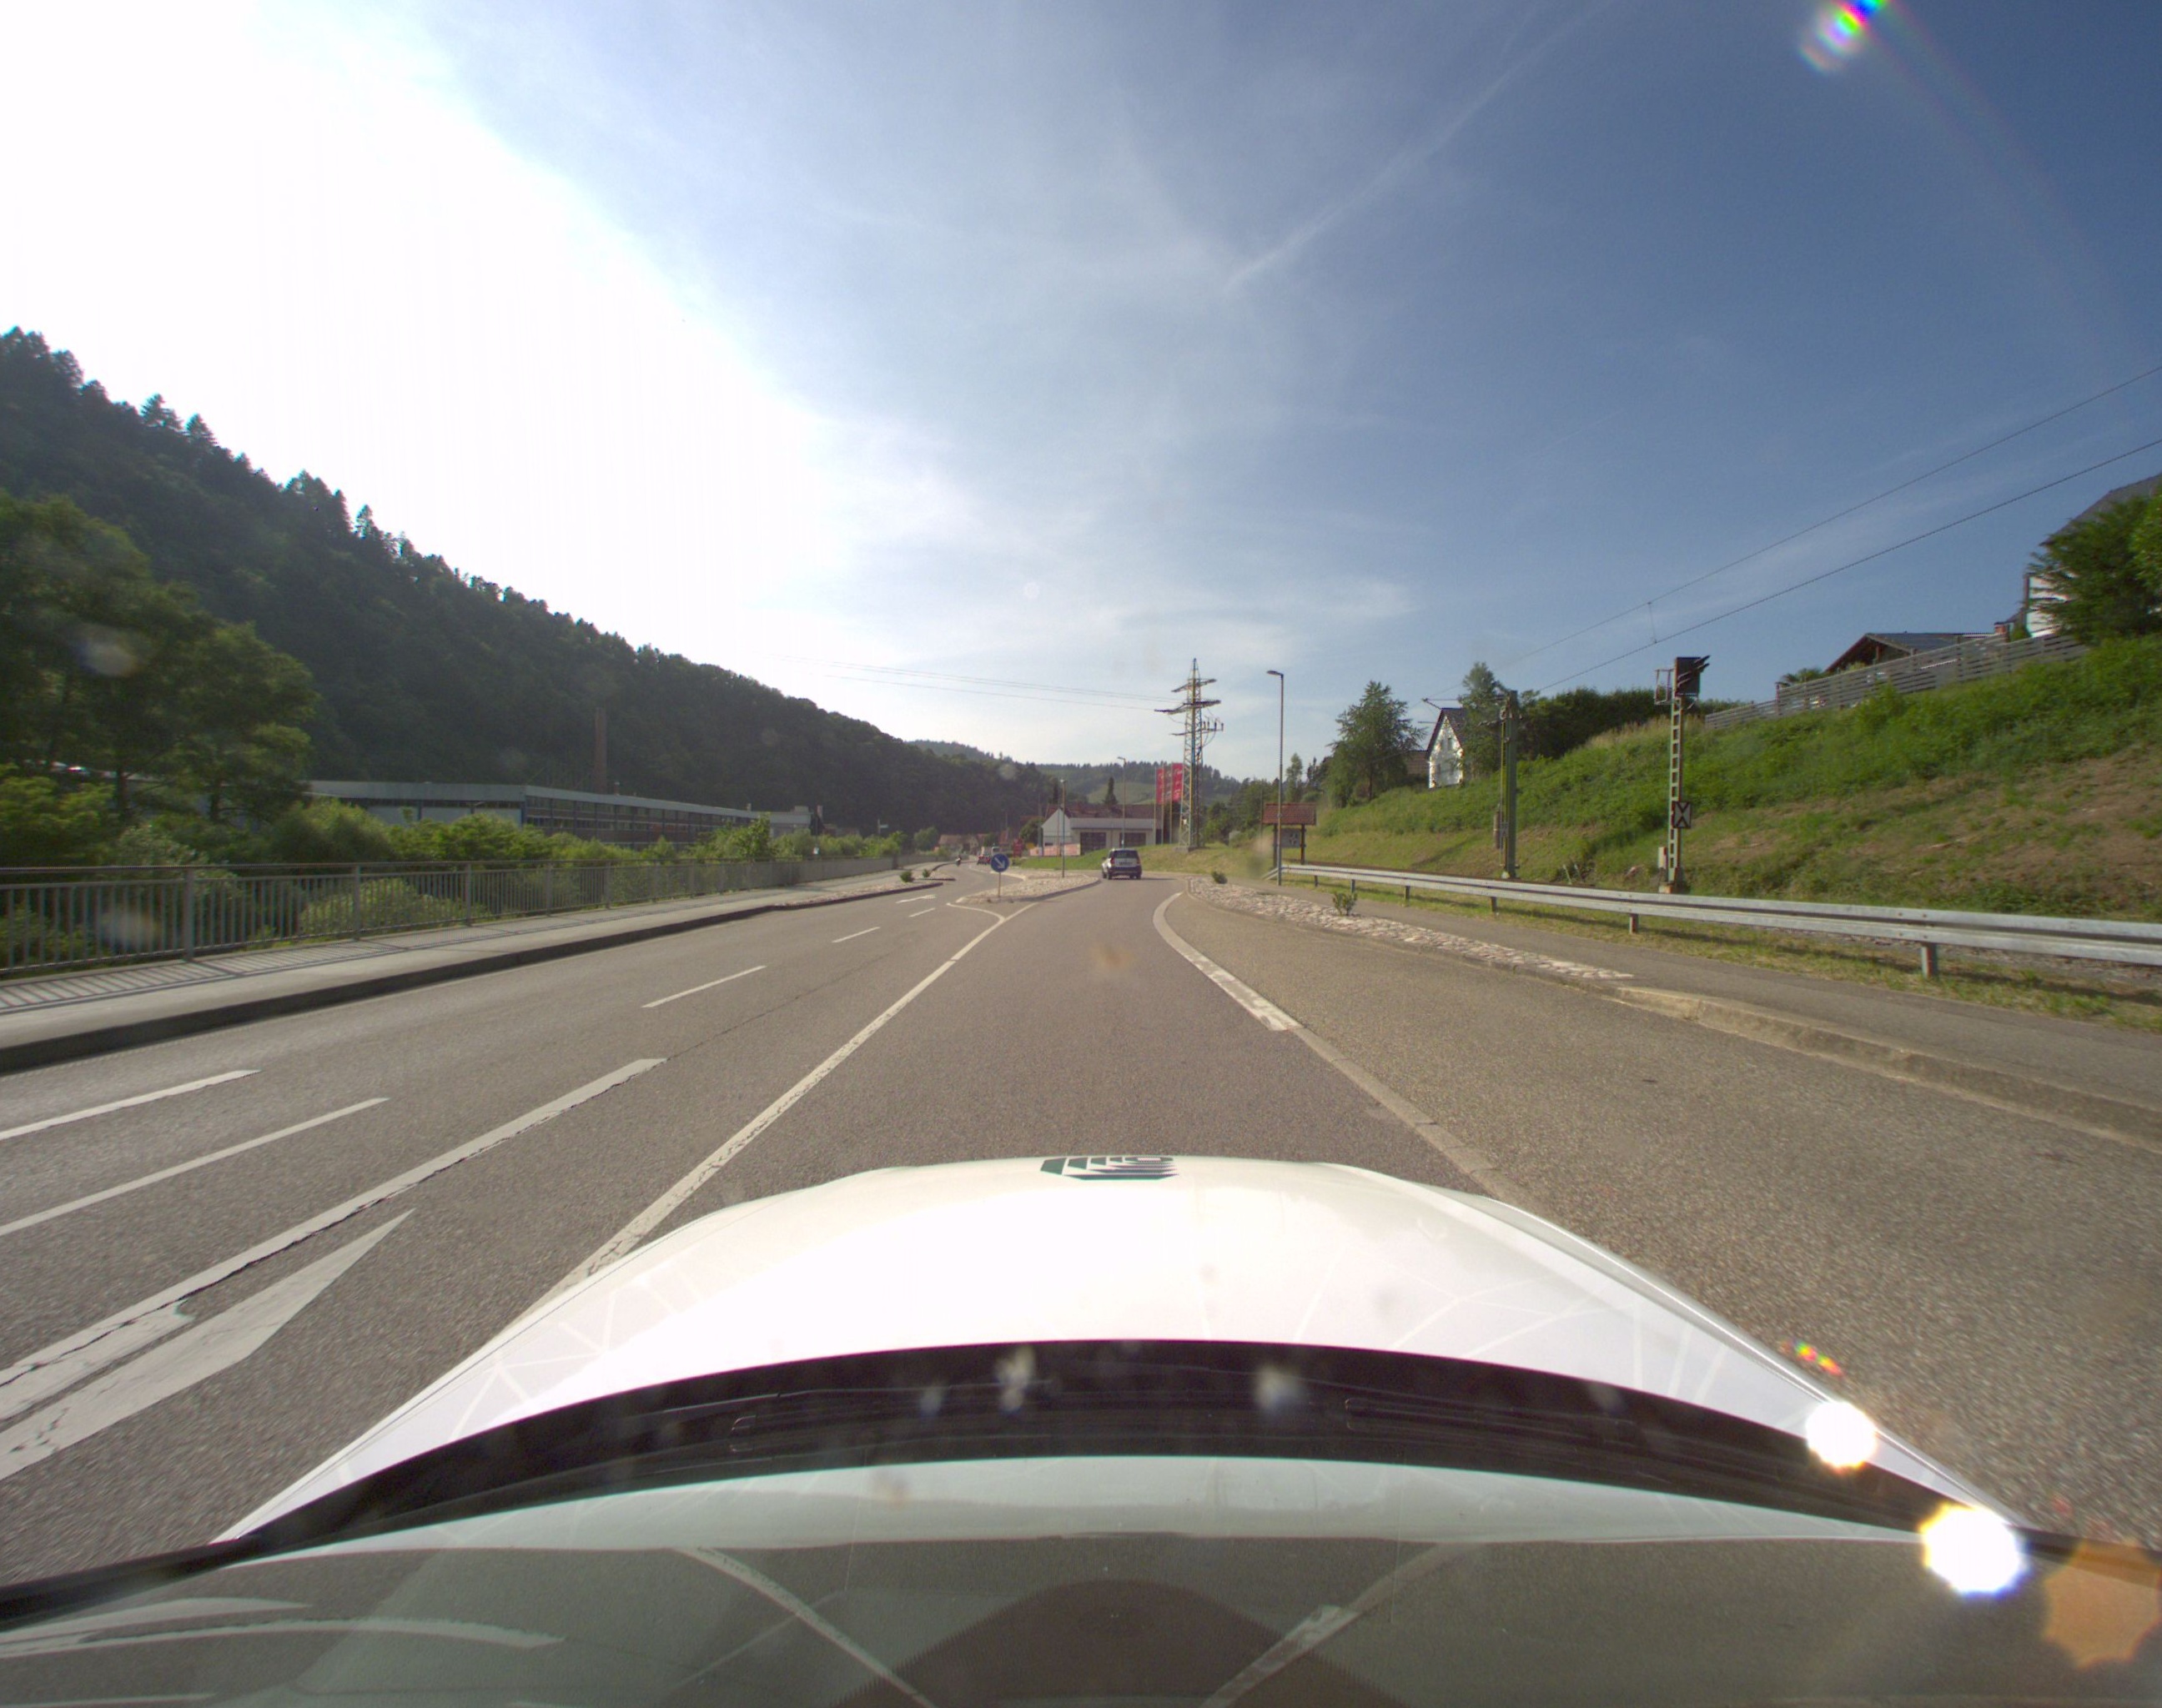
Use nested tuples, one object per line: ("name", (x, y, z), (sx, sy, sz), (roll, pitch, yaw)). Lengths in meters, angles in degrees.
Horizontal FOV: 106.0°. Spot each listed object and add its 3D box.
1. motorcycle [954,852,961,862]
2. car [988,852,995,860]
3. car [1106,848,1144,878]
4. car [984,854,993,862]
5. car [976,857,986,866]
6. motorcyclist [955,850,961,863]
("motorcycle", (-16.344, 0.397, 107.941), (0.771, 1.422, 2.314), (-1, 0, -5))
("car", (-17.834, 0.397, 161.979), (1.290, 1.435, 2.802), (1, 1, -5))
("car", (2.328, 0.481, 44.327), (1.855, 1.544, 4.373), (1, 0, 0))
("car", (-17.061, 0.681, 150.240), (1.354, 1.435, 2.834), (1, 1, -5))
("car", (-17.128, 1.228, 139.277), (1.450, 1.435, 2.932), (1, 1, -4))
("motorcyclist", (-16.336, 0.290, 107.980), (0.761, 1.678, 0.726), (0, -1, -5))
